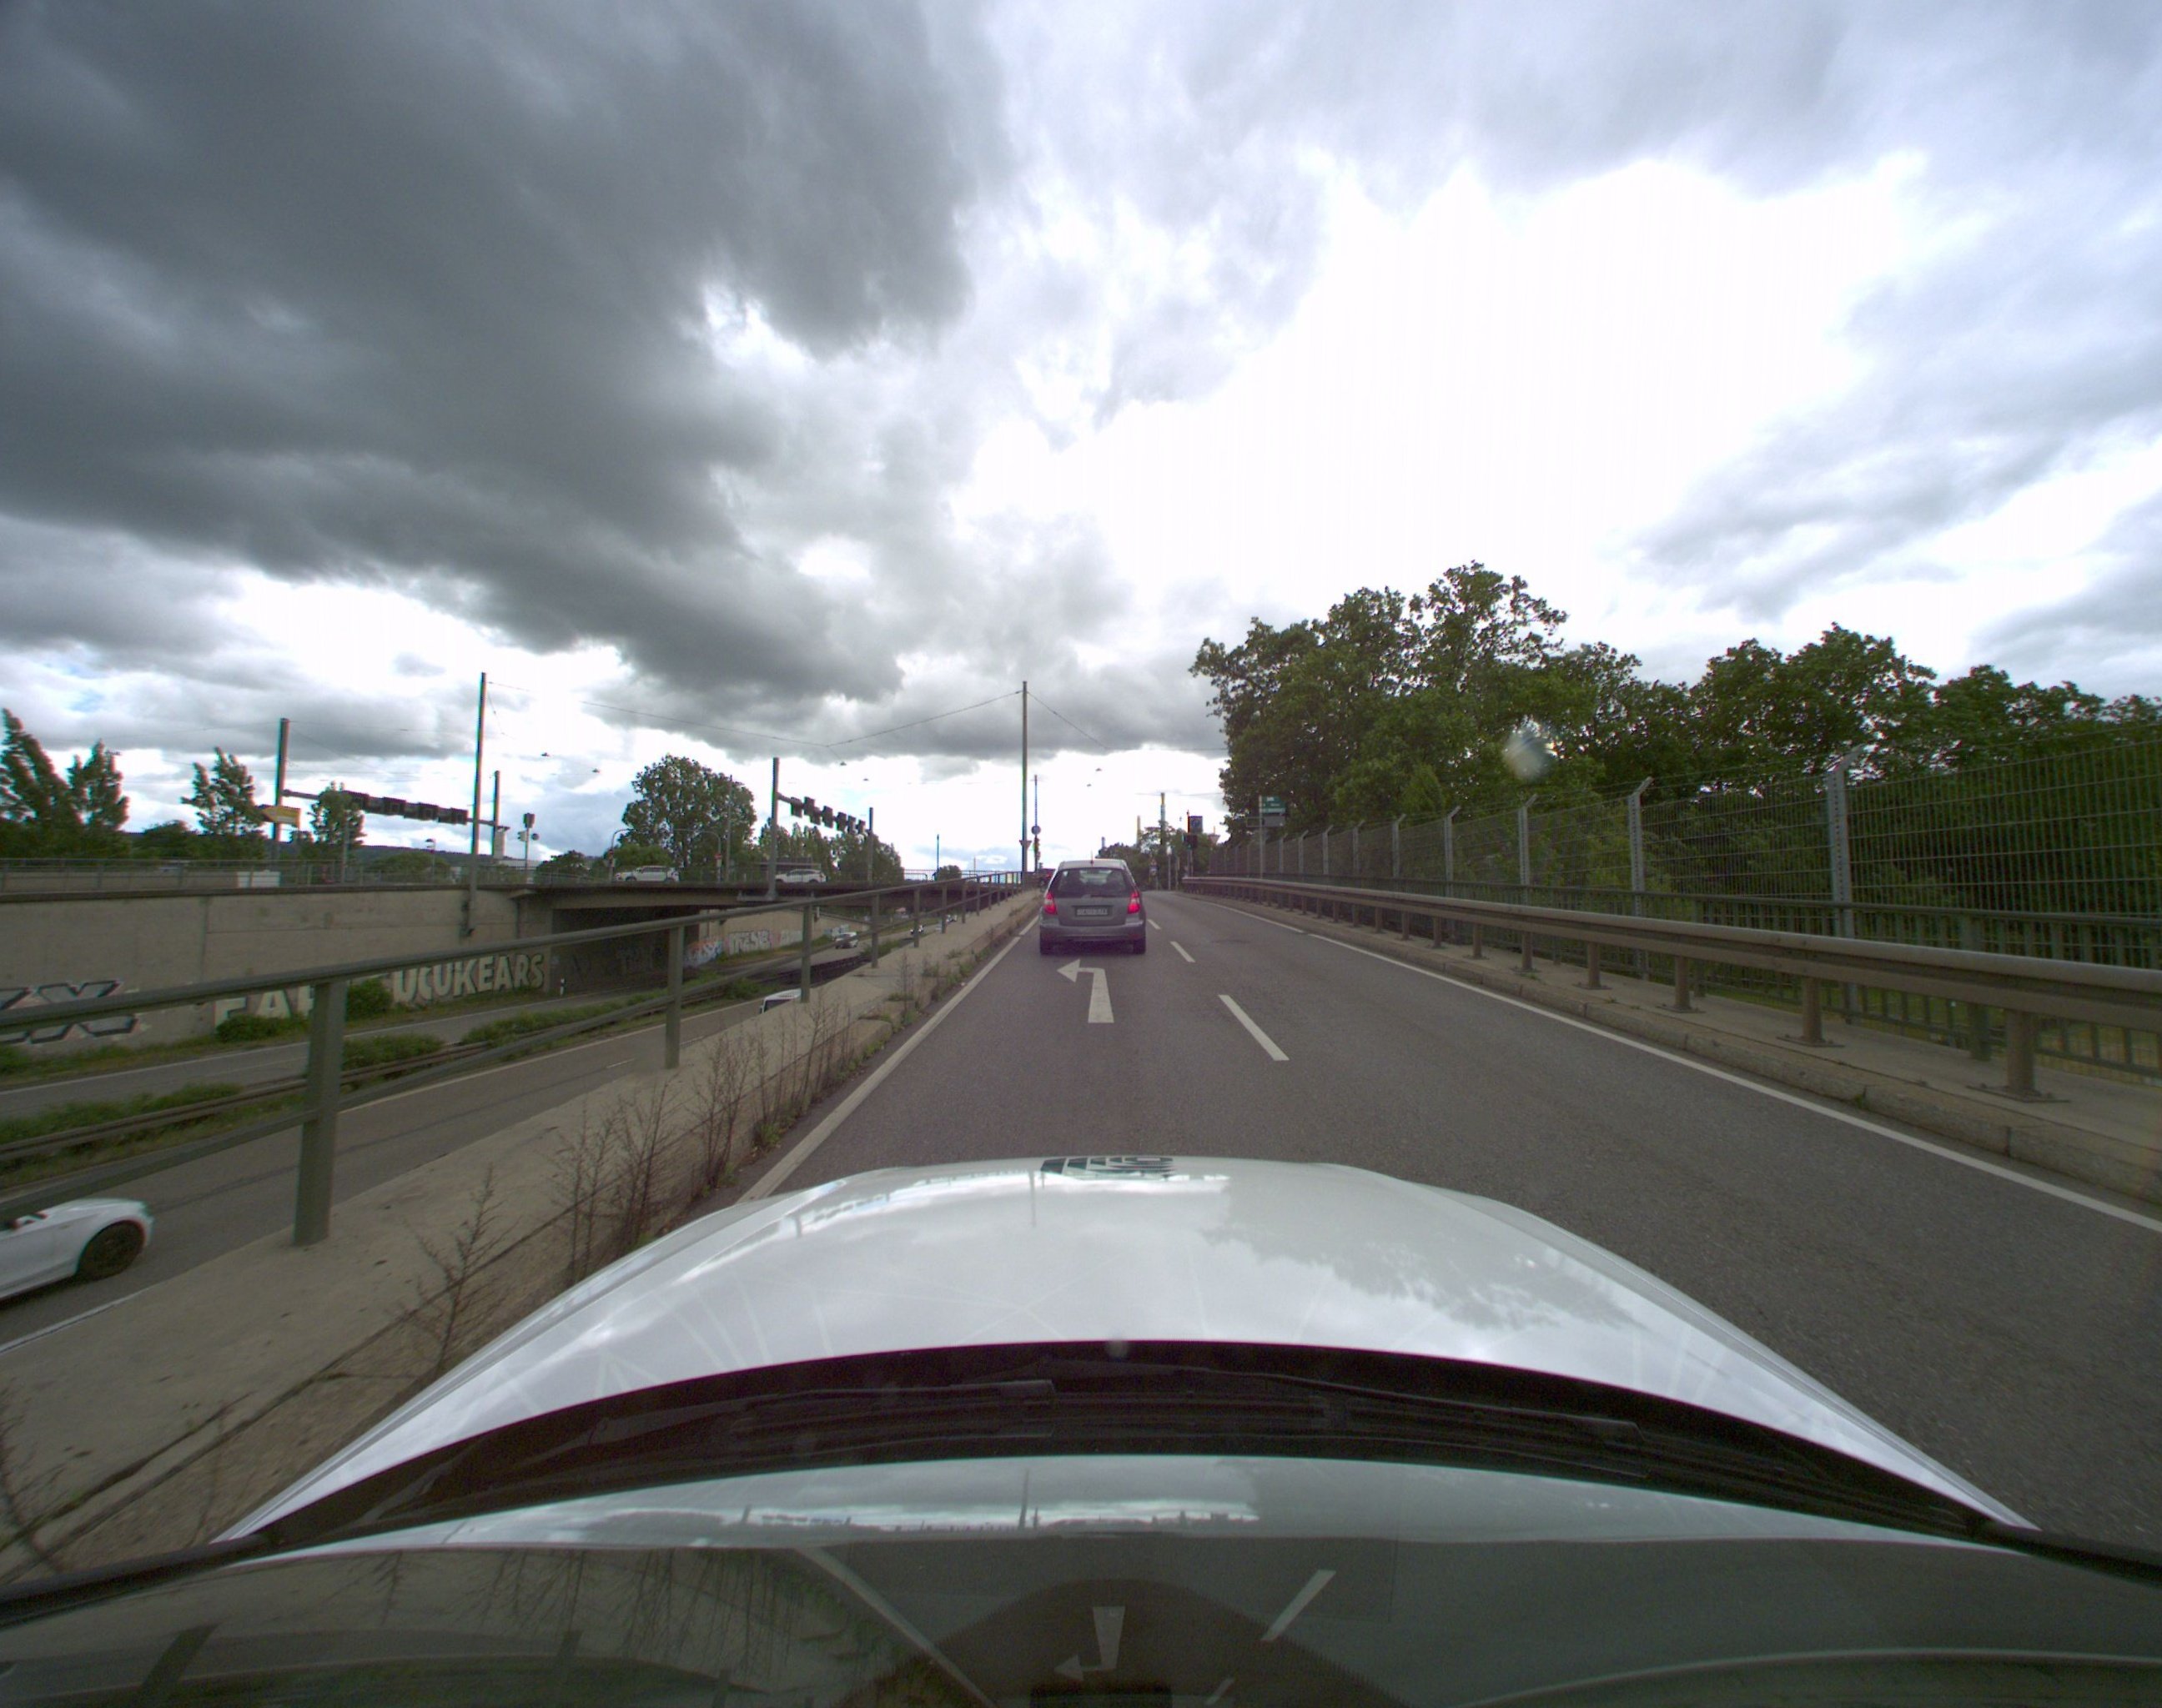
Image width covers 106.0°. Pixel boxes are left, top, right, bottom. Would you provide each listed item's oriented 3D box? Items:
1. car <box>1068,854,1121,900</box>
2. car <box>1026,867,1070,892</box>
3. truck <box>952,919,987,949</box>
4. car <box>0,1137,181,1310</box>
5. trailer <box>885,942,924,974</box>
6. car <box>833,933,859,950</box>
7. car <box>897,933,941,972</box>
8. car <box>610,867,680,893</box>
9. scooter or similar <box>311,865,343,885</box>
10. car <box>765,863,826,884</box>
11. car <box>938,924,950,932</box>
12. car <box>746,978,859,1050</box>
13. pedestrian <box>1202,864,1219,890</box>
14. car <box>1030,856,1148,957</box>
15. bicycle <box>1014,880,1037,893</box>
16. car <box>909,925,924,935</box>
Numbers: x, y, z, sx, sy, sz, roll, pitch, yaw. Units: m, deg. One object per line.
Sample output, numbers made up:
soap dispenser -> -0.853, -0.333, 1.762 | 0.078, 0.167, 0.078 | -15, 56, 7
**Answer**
car -> 0.470, 0.891, 32.503 | 1.926, 1.717, 4.402 | 0, -1, -2
car -> -2.470, 1.864, 59.856 | 1.940, 1.717, 3.967 | 0, -1, -25
truck -> -13.021, 9.325, 95.679 | 2.736, 3.294, 7.442 | -1, -4, 2
car -> -13.315, 4.510, 9.106 | 1.736, 1.452, 4.165 | -1, -4, 1
trailer -> -12.498, 7.341, 57.866 | 1.722, 2.130, 3.936 | 0, -5, 2
car -> -30.476, 11.306, 105.631 | 1.988, 2.067, 5.172 | 0, -4, -2
car -> -12.378, 7.522, 62.767 | 1.986, 2.685, 5.933 | 0, -5, 2
car -> -32.392, 1.902, 60.547 | 4.236, 1.870, 1.976 | 0, -1, -43
scooter or similar -> -42.061, 1.186, 45.448 | 0.542, 1.094, 1.414 | -1, -3, -4
car -> -22.762, 1.531, 65.023 | 4.335, 1.576, 1.831 | 0, -1, -12
car -> -26.750, 14.412, 158.759 | 1.723, 1.528, 4.084 | 0, -4, 0
car -> -9.584, 5.499, 28.545 | 1.986, 1.877, 5.199 | -1, -4, 2
pedestrian -> 8.476, 1.498, 53.357 | 0.831, 1.678, 0.978 | -1, -4, -3
car -> 0.198, 0.848, 14.811 | 1.850, 1.588, 4.002 | 0, -1, 2
bicycle -> -5.030, 2.981, 73.986 | 2.033, 1.125, 0.925 | 0, -1, -12
car -> -30.267, 13.969, 150.283 | 1.910, 1.739, 4.549 | -1, -4, -1
